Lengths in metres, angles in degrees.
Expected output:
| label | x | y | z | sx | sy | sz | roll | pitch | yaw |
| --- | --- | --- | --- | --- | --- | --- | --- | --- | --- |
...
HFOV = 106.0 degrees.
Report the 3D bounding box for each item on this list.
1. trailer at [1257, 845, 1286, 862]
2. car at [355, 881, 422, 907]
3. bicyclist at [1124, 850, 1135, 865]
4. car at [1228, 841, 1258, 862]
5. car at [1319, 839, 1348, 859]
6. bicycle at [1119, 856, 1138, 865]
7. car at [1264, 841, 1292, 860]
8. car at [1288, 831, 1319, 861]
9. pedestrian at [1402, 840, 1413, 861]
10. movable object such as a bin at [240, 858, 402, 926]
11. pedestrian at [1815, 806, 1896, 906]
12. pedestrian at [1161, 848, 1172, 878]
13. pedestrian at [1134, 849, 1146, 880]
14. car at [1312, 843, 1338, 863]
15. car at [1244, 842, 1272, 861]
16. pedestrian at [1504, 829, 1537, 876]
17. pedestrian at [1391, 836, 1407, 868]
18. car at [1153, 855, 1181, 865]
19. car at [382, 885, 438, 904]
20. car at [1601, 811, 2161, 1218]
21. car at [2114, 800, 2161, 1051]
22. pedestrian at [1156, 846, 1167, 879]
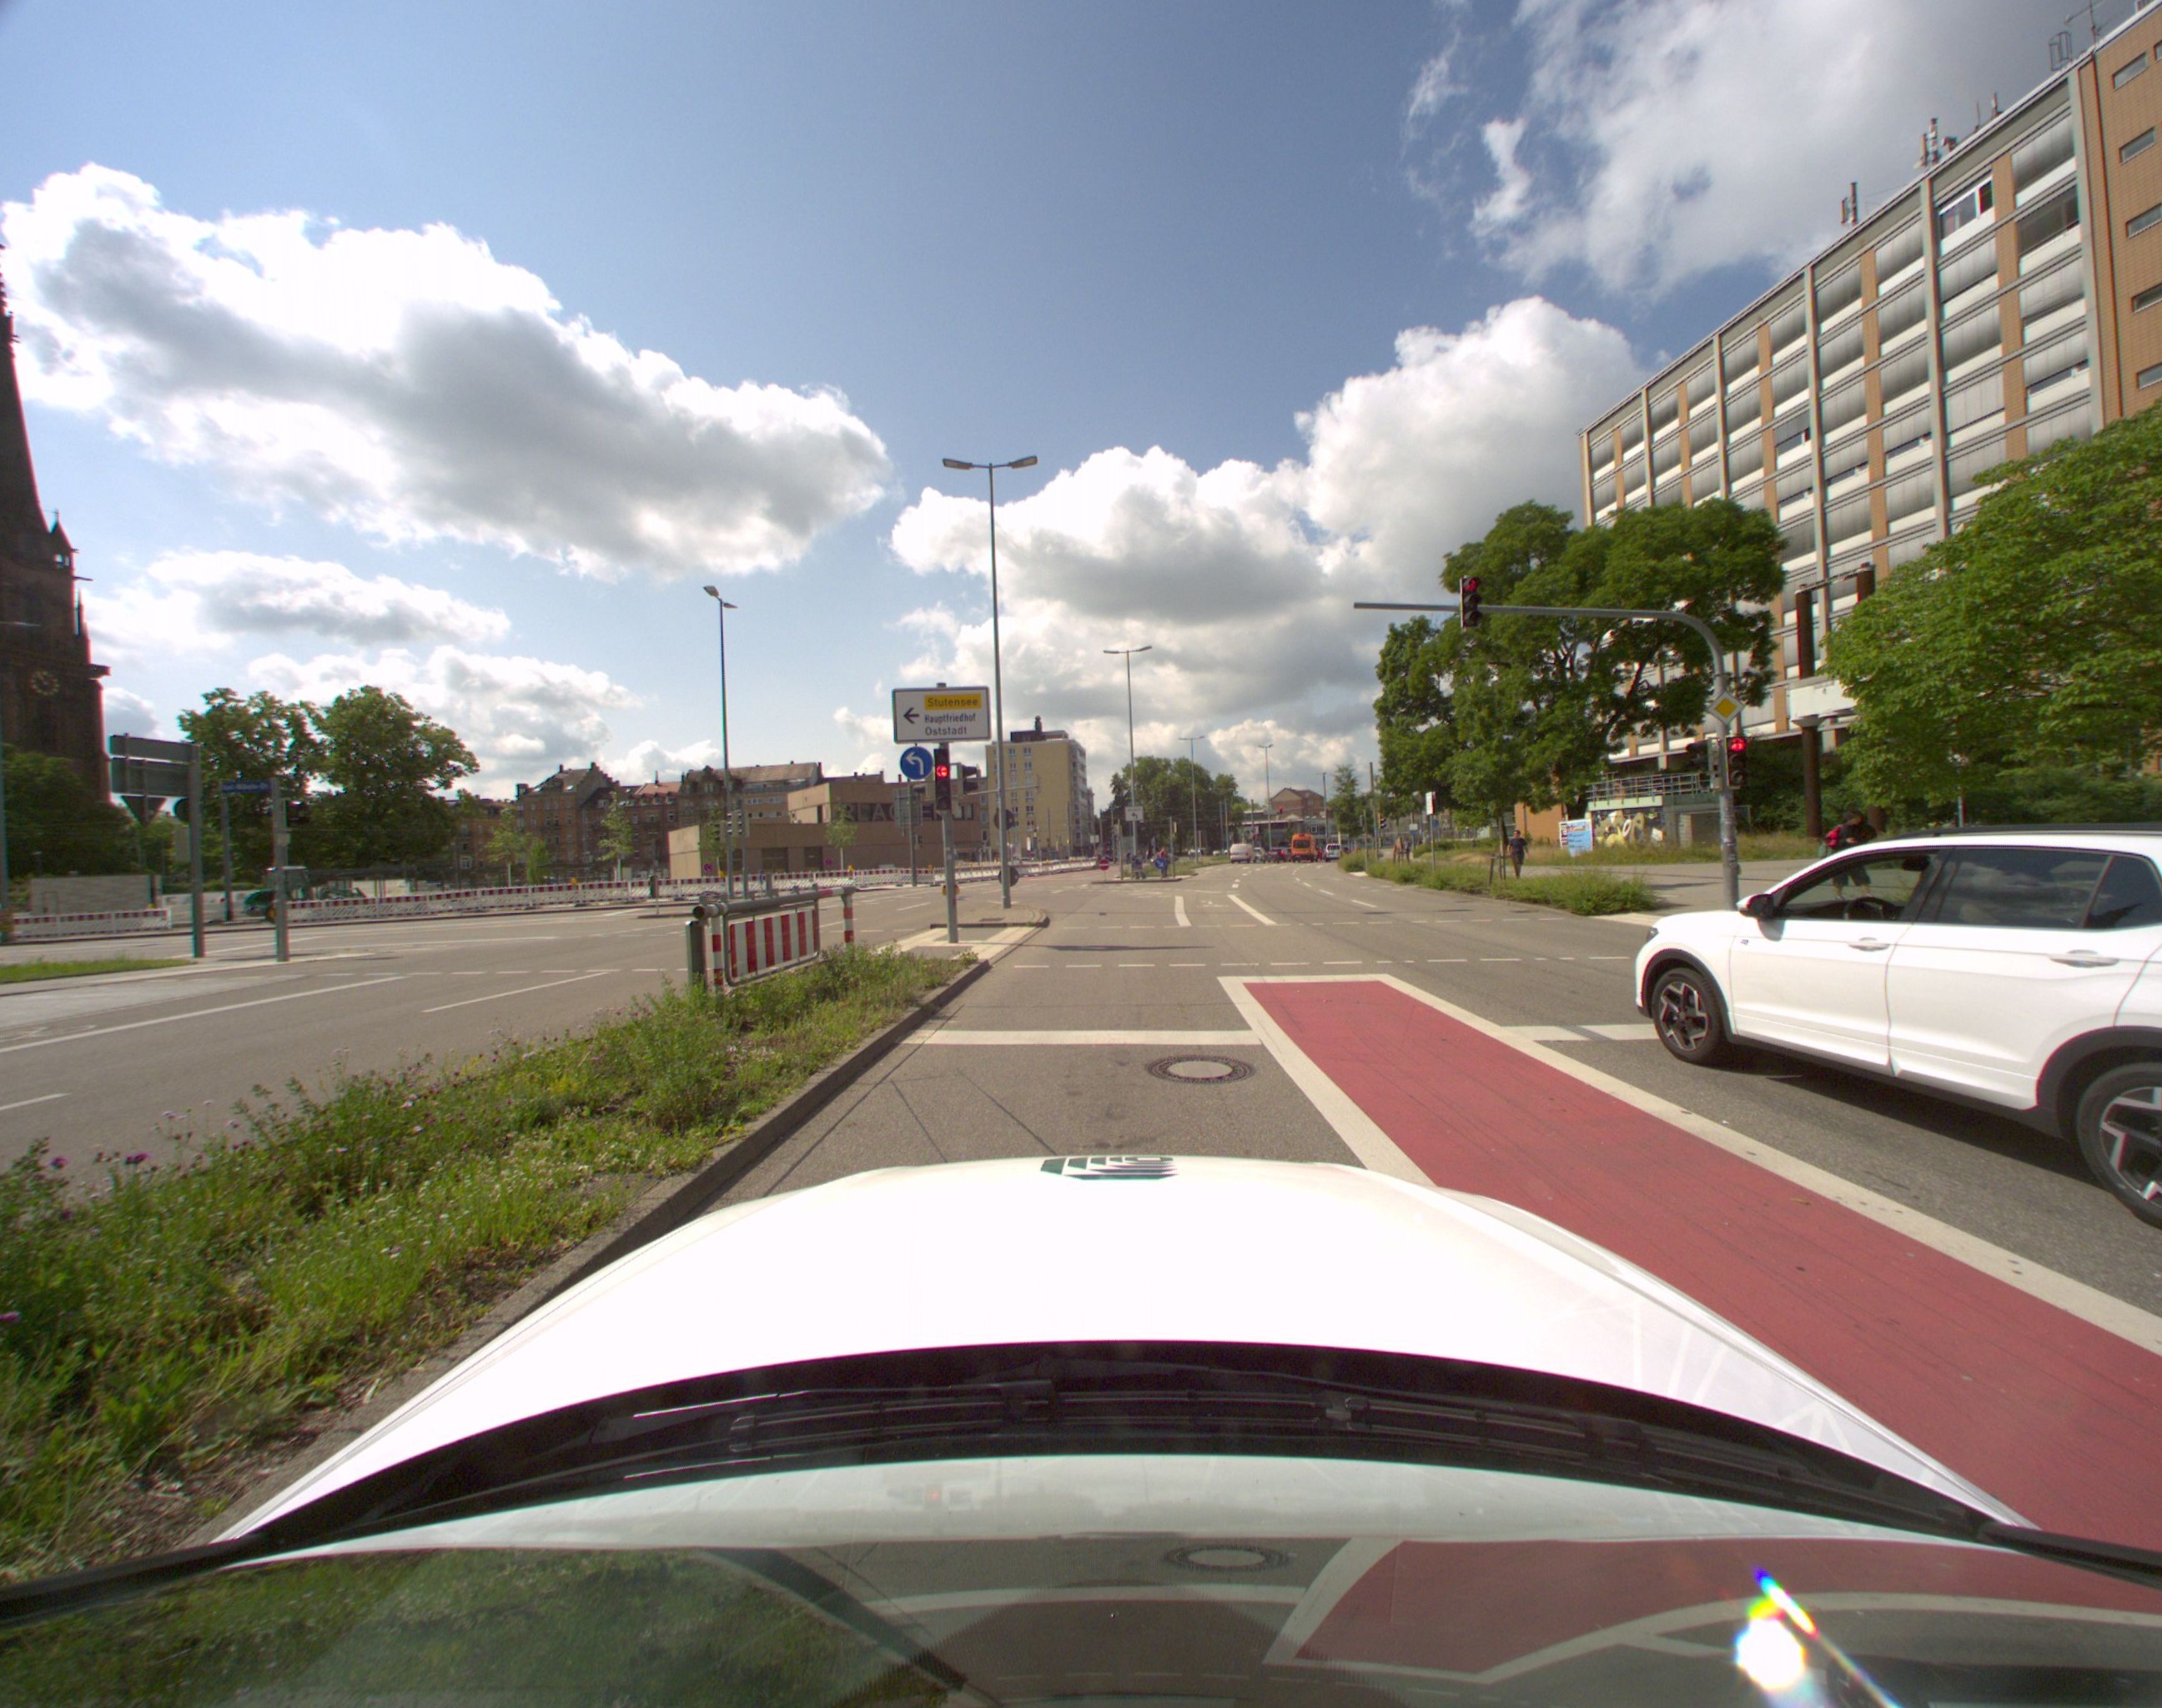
| label | x | y | z | sx | sy | sz | roll | pitch | yaw |
| --- | --- | --- | --- | --- | --- | --- | --- | --- | --- |
| trailer | 18.805 | -0.046 | 80.271 | 1.975 | 1.477 | 4.023 | -3 | 0 | 25 |
| car | -58.769 | 3.370 | 69.184 | 4.201 | 1.882 | 1.782 | -3 | 0 | -39 |
| bicyclist | 6.424 | 0.434 | 108.044 | 1.209 | 1.909 | 0.863 | -3 | 0 | 20 |
| car | 16.469 | -0.284 | 82.655 | 1.987 | 1.966 | 4.665 | -3 | 0 | 24 |
| car | 24.788 | -0.471 | 79.882 | 1.975 | 1.795 | 4.024 | -3 | 0 | 25 |
| bicycle | 6.324 | 0.853 | 108.083 | 2.358 | 1.066 | 0.863 | -3 | 0 | 20 |
| car | 20.160 | -0.375 | 83.307 | 1.975 | 1.826 | 4.023 | -3 | 0 | 25 |
| car | 22.016 | -0.771 | 80.315 | 2.111 | 2.780 | 4.665 | -3 | 0 | 24 |
| pedestrian | 28.031 | -0.326 | 69.929 | 0.781 | 1.784 | 0.670 | -3 | 0 | 21 |
| movable object such as a bin | -36.858 | 1.769 | 39.627 | 2.259 | 2.884 | 5.576 | -3 | -1 | 43 |
| pedestrian | 14.015 | 0.037 | 14.755 | 0.739 | 1.735 | 0.679 | -3 | 0 | 3 |
| pedestrian | 4.859 | 0.515 | 46.460 | 0.521 | 1.684 | 0.625 | -3 | 0 | 9 |
| pedestrian | 3.315 | 0.572 | 45.466 | 0.521 | 1.733 | 0.625 | -3 | 0 | 9 |
| car | 26.419 | -0.100 | 88.184 | 1.973 | 1.938 | 4.665 | -3 | 0 | 24 |
| car | 19.625 | -0.329 | 90.159 | 1.973 | 1.938 | 4.665 | -3 | 0 | 24 |
| pedestrian | 14.630 | -0.046 | 27.123 | 0.766 | 1.508 | 0.553 | -2 | 0 | 5 |
| pedestrian | 17.415 | -0.111 | 44.601 | 0.656 | 1.733 | 0.579 | -3 | 0 | 10 |
| car | 13.106 | 0.905 | 124.578 | 4.010 | 1.480 | 1.677 | 0 | 1 | 41 |
| car | -72.596 | 4.334 | 88.196 | 4.385 | 1.793 | 1.766 | -3 | 0 | -30 |
| car | 4.984 | 0.589 | 4.422 | 1.785 | 1.539 | 4.011 | -1 | 0 | 1 |
| car | 7.865 | 0.446 | 3.303 | 1.675 | 1.641 | 4.462 | -2 | 0 | 0 |
| pedestrian | 4.380 | 0.457 | 44.340 | 0.521 | 1.733 | 0.625 | -3 | 0 | 9 |
